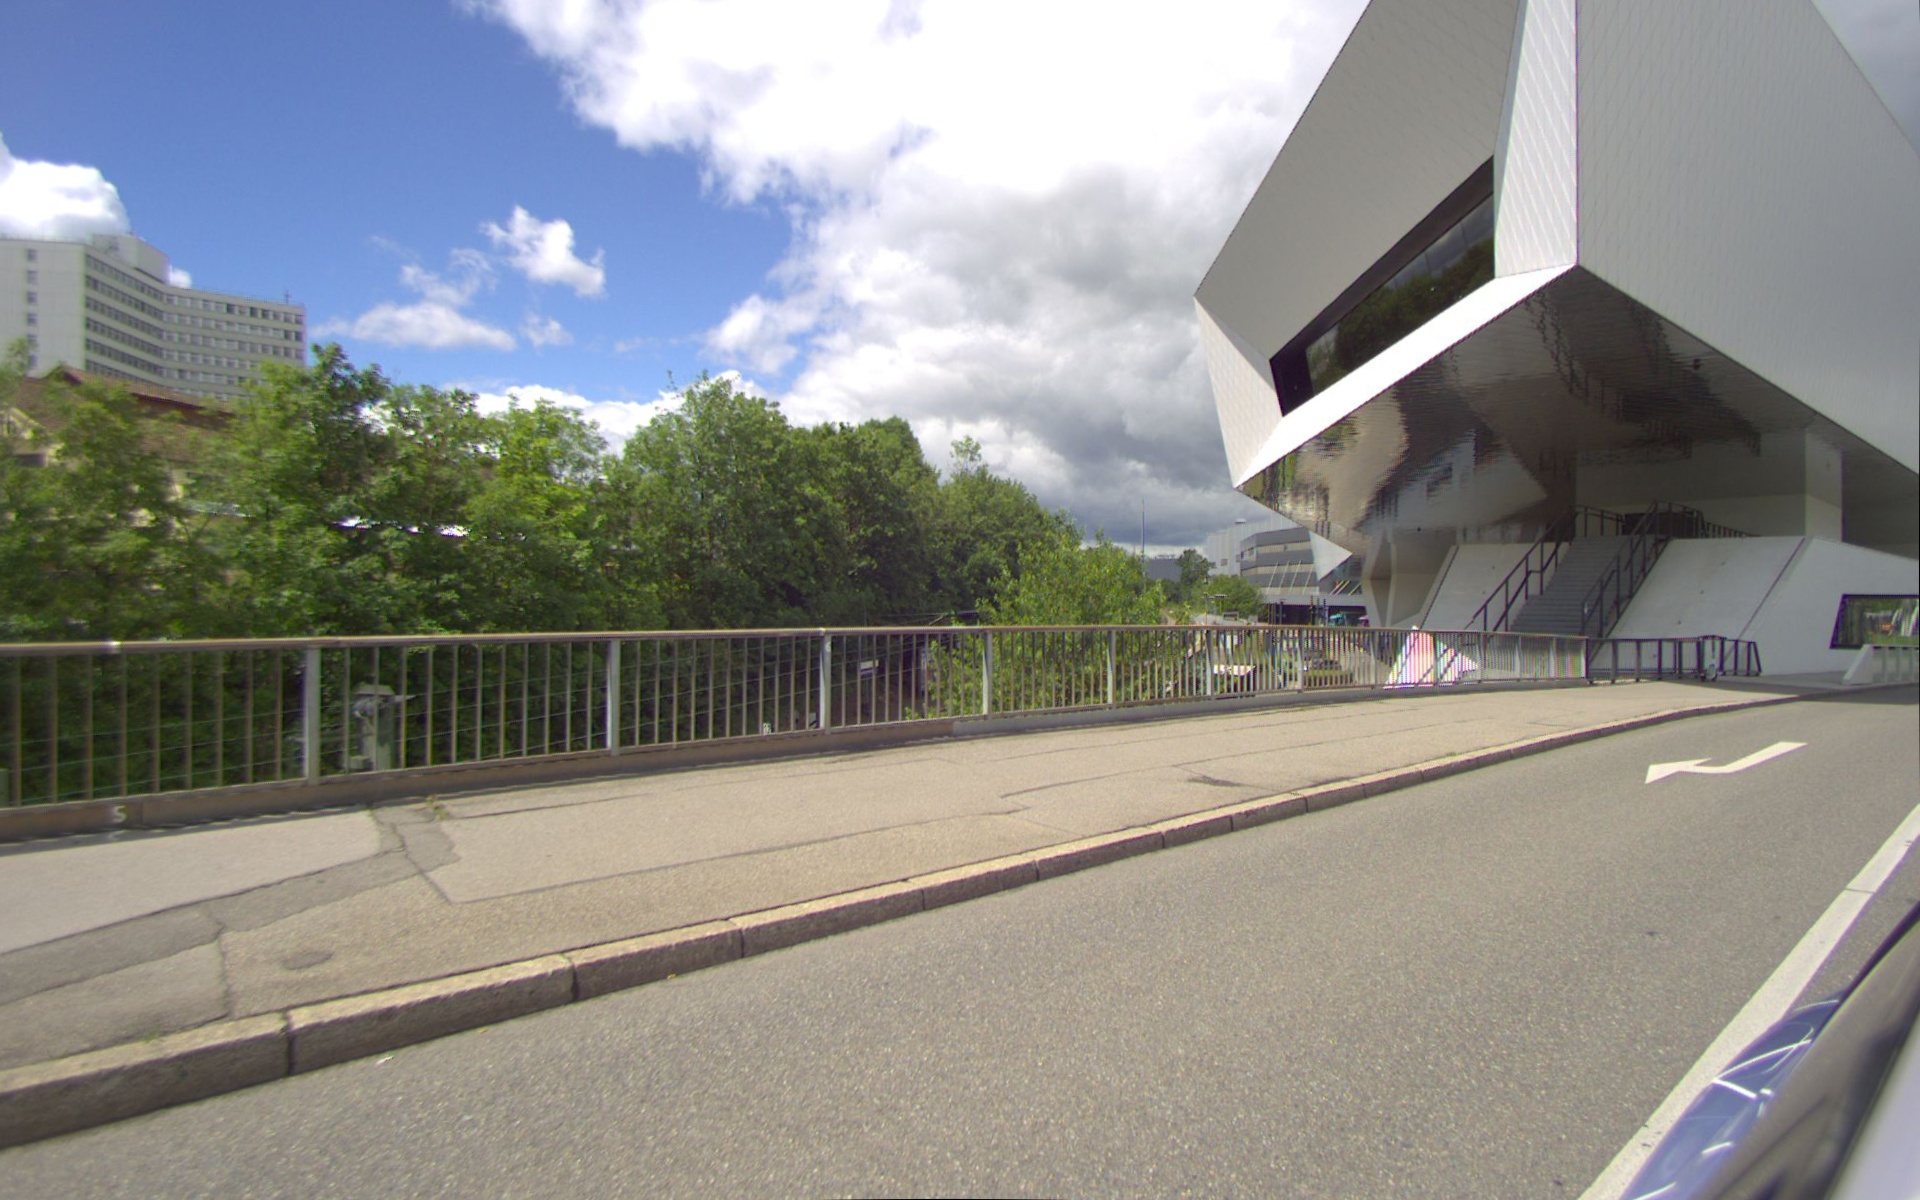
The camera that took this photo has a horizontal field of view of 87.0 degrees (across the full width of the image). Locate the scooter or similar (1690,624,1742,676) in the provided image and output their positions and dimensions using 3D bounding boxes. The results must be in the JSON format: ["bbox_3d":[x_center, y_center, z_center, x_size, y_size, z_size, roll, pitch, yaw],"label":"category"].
[{"bbox_3d":[18.836,1.232,25.189,1.825,1.229,0.654,2,0,-41],"label":"scooter or similar"}]
